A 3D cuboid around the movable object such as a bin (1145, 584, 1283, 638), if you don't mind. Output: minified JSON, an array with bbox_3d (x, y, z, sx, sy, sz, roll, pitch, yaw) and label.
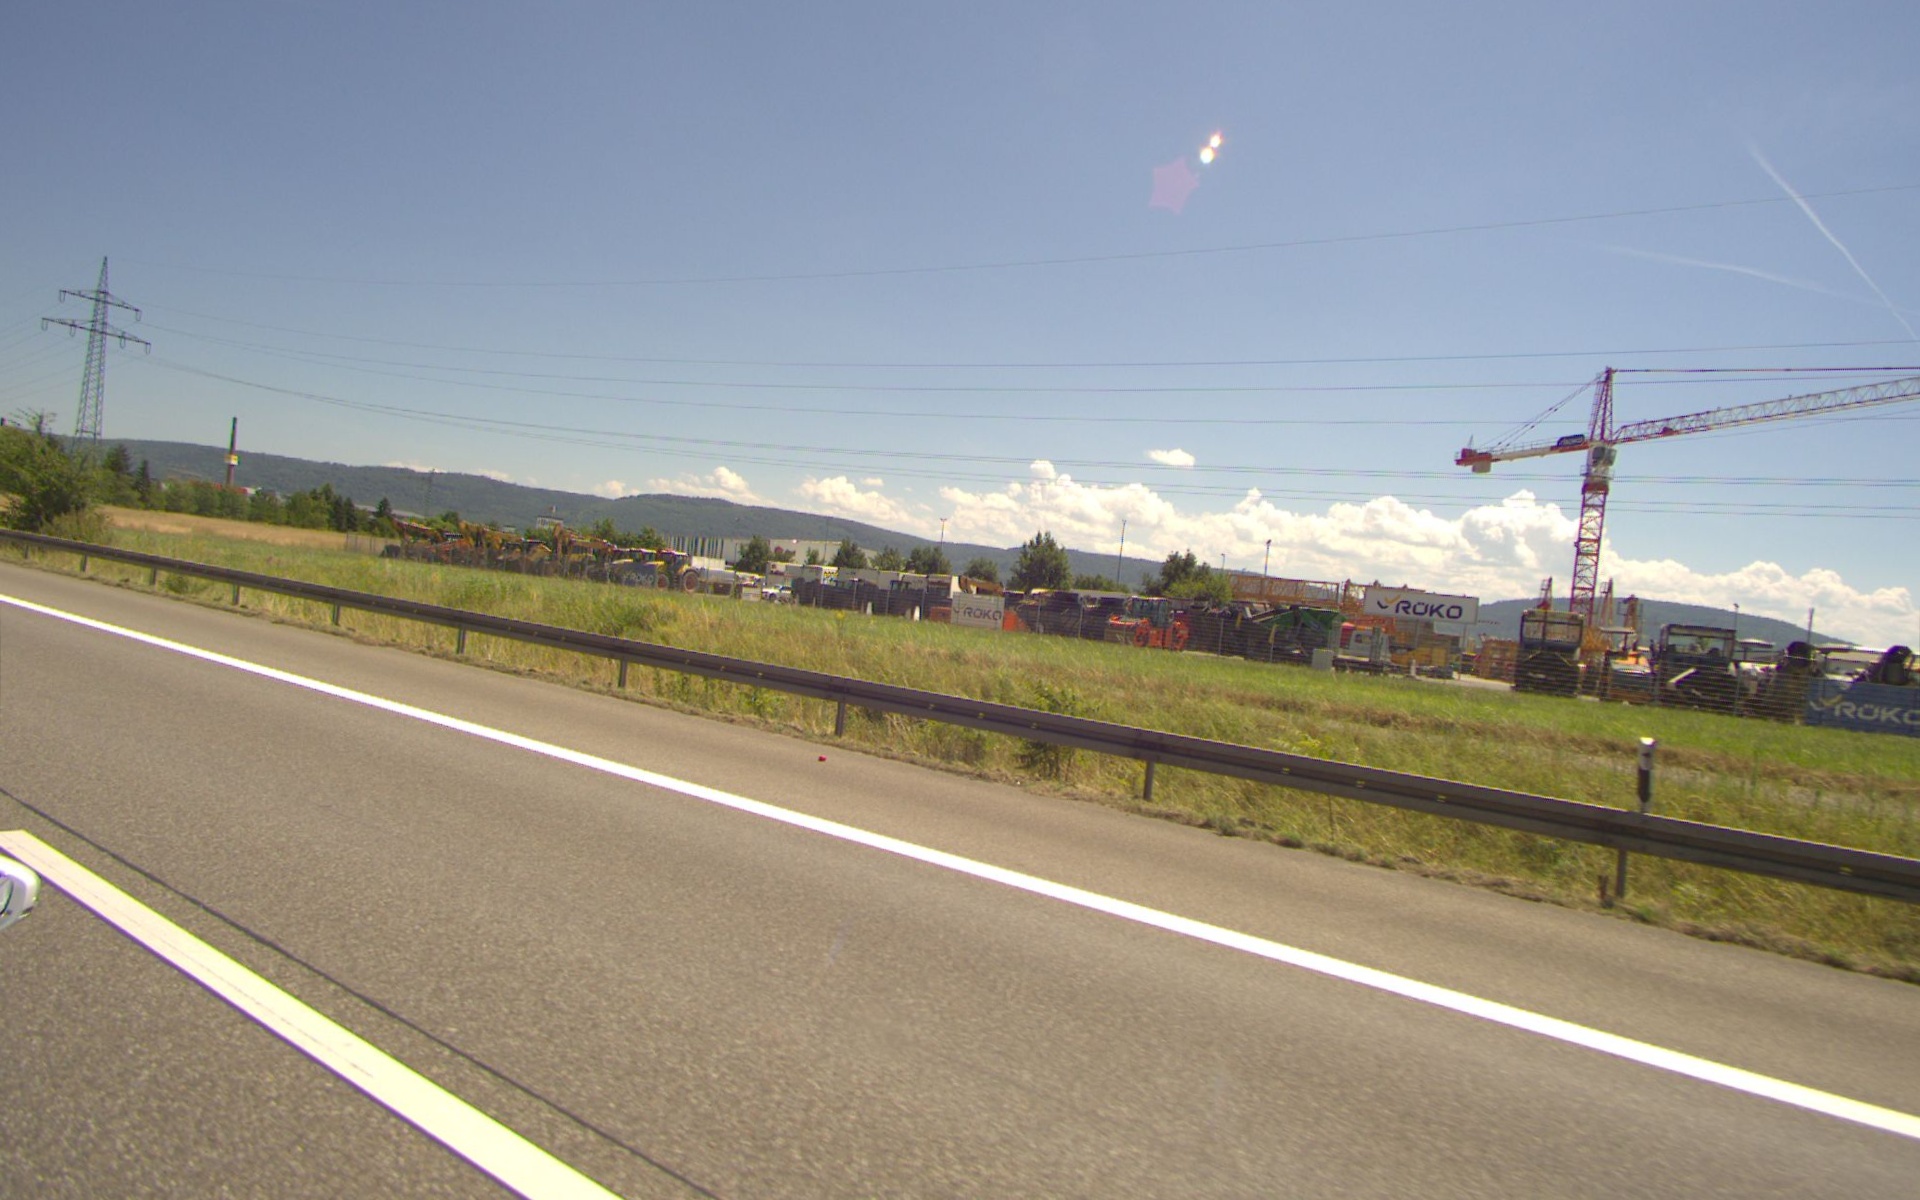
[{"bbox_3d":[18.941,0.870,74.543,11.108,2.984,2.981,6,1,-33],"label":"movable object such as a bin"}]

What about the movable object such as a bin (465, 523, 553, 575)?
[{"bbox_3d":[-39.168,-4.404,87.462,2.457,3.780,6.342,7,1,37],"label":"movable object such as a bin"}]

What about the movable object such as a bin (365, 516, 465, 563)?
[{"bbox_3d":[-51.339,-5.674,94.942,3.004,3.446,7.540,7,1,37],"label":"movable object such as a bin"}]

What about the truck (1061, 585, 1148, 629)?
[{"bbox_3d":[13.022,0.607,91.379,2.896,3.189,7.822,5,1,-37],"label":"truck"}]

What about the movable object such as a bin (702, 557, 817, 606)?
[{"bbox_3d":[-14.625,-1.313,73.862,3.136,2.723,7.807,7,1,44],"label":"movable object such as a bin"}]

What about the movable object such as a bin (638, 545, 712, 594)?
[{"bbox_3d":[-21.981,-2.357,77.715,2.263,3.238,4.808,7,1,38],"label":"movable object such as a bin"}]

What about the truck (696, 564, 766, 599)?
[{"bbox_3d":[-23.551,-1.867,103.658,3.294,2.857,6.344,7,0,34],"label":"truck"}]

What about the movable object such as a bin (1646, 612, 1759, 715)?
[{"bbox_3d":[32.132,2.719,43.947,2.620,3.736,10.261,7,1,31],"label":"movable object such as a bin"}]

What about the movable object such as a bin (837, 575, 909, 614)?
[{"bbox_3d":[-7.871,-0.491,91.809,6.325,2.916,2.245,6,1,-44],"label":"movable object such as a bin"}]

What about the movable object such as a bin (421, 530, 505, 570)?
[{"bbox_3d":[-44.965,-4.467,91.198,2.239,2.917,6.342,7,1,37],"label":"movable object such as a bin"}]

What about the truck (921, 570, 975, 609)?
[{"bbox_3d":[-1.131,-0.994,97.194,2.868,3.189,6.361,6,0,20],"label":"truck"}]

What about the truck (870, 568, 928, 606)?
[{"bbox_3d":[-6.241,-1.324,103.947,3.191,3.297,6.358,6,0,24],"label":"truck"}]

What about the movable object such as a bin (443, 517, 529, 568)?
[{"bbox_3d":[-41.998,-5.021,89.304,2.239,3.780,6.342,7,1,37],"label":"movable object such as a bin"}]

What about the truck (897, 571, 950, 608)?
[{"bbox_3d":[-3.564,-1.000,100.523,2.868,3.189,6.361,6,0,20],"label":"truck"}]

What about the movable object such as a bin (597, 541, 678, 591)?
[{"bbox_3d":[-25.465,-2.650,79.573,2.747,3.335,5.250,7,1,38],"label":"movable object such as a bin"}]

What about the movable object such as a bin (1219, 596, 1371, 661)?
[{"bbox_3d":[24.506,2.113,73.353,11.581,3.657,2.952,6,1,-27],"label":"movable object such as a bin"}]

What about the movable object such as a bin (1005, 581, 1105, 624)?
[{"bbox_3d":[7.890,0.247,82.976,8.358,2.723,2.580,6,1,-36],"label":"movable object such as a bin"}]

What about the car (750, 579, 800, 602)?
[{"bbox_3d":[-17.370,-0.878,94.582,1.672,1.569,4.234,7,-2,43],"label":"car"}]

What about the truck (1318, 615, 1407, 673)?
[{"bbox_3d":[20.424,2.269,50.938,2.616,2.495,5.540,7,1,37],"label":"truck"}]

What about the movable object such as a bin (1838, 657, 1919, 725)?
[{"bbox_3d":[50.430,4.895,54.770,2.877,3.189,7.976,7,1,36],"label":"movable object such as a bin"}]

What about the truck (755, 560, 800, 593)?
[{"bbox_3d":[-22.583,-2.854,124.909,2.858,3.461,5.719,6,0,17],"label":"truck"}]

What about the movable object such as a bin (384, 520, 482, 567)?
[{"bbox_3d":[-48.212,-5.108,92.240,2.239,3.446,7.540,7,1,37],"label":"movable object such as a bin"}]

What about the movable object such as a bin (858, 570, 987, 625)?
[{"bbox_3d":[-2.382,-0.135,65.344,7.780,2.723,3.147,6,1,-36],"label":"movable object such as a bin"}]

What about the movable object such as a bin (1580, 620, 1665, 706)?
[{"bbox_3d":[30.266,2.837,46.243,2.490,3.351,9.111,7,1,31],"label":"movable object such as a bin"}]

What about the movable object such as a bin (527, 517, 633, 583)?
[{"bbox_3d":[-31.650,-4.130,84.024,3.056,4.586,7.509,7,1,38],"label":"movable object such as a bin"}]

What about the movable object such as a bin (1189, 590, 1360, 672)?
[{"bbox_3d":[16.769,1.739,53.201,10.182,3.459,2.499,6,1,-34],"label":"movable object such as a bin"}]

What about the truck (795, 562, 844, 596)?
[{"bbox_3d":[-16.304,-2.393,117.057,3.150,3.461,5.719,6,0,17],"label":"truck"}]

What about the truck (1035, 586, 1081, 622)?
[{"bbox_3d":[10.024,0.424,102.520,2.868,3.189,6.361,6,0,20],"label":"truck"}]

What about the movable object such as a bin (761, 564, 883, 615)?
[{"bbox_3d":[-9.615,-0.709,70.697,7.780,2.723,3.147,6,1,-36],"label":"movable object such as a bin"}]

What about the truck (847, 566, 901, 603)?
[{"bbox_3d":[-9.118,-1.600,107.663,3.284,3.297,6.362,6,0,18],"label":"truck"}]

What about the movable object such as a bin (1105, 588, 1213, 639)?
[{"bbox_3d":[15.168,1.061,76.399,8.358,2.984,2.880,6,1,-36],"label":"movable object such as a bin"}]

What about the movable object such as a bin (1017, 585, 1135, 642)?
[{"bbox_3d":[6.971,0.843,59.665,6.856,2.723,3.138,5,1,-44],"label":"movable object such as a bin"}]

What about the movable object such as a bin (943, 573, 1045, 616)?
[{"bbox_3d":[2.910,-0.448,83.610,8.358,2.723,2.713,6,1,-36],"label":"movable object such as a bin"}]

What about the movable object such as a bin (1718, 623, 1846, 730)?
[{"bbox_3d":[34.379,3.113,42.467,2.353,3.736,10.261,7,1,31],"label":"movable object such as a bin"}]

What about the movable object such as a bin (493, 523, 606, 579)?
[{"bbox_3d":[-34.959,-4.142,86.024,3.287,3.780,8.176,7,1,38],"label":"movable object such as a bin"}]

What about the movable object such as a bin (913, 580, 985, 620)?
[{"bbox_3d":[-0.935,0.033,88.893,6.325,2.916,2.245,6,1,-44],"label":"movable object such as a bin"}]

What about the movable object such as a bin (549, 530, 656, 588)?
[{"bbox_3d":[-28.969,-3.277,81.753,3.056,3.831,7.509,7,1,38],"label":"movable object such as a bin"}]

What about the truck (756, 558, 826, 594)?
[{"bbox_3d":[-16.921,-2.380,101.051,3.294,2.857,6.344,7,0,34],"label":"truck"}]

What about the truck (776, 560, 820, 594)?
[{"bbox_3d":[-19.350,-2.697,120.548,2.720,3.461,5.719,6,0,17],"label":"truck"}]

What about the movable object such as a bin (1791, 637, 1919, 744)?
[{"bbox_3d":[37.454,3.615,41.856,2.634,3.737,9.724,7,1,31],"label":"movable object such as a bin"}]

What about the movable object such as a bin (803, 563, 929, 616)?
[{"bbox_3d":[-6.320,-0.671,68.013,7.780,2.723,3.147,6,1,-36],"label":"movable object such as a bin"}]

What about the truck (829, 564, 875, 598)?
[{"bbox_3d":[-11.850,-2.088,110.724,2.798,3.248,5.334,6,0,17],"label":"truck"}]

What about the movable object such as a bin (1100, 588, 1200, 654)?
[{"bbox_3d":[10.956,1.249,57.671,5.809,3.238,2.490,5,1,-44],"label":"movable object such as a bin"}]

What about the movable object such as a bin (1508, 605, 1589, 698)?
[{"bbox_3d":[27.885,2.425,47.624,2.620,3.736,10.261,7,1,31],"label":"movable object such as a bin"}]

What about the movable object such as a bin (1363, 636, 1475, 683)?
[{"bbox_3d":[32.314,4.152,70.990,2.896,2.495,6.411,6,1,-37],"label":"movable object such as a bin"}]

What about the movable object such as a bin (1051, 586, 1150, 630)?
[{"bbox_3d":[11.501,0.692,81.916,8.358,2.723,2.580,6,1,-36],"label":"movable object such as a bin"}]

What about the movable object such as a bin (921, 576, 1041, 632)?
[{"bbox_3d":[1.363,0.291,62.755,6.839,2.723,3.146,6,1,-36],"label":"movable object such as a bin"}]

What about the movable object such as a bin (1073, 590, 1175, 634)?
[{"bbox_3d":[12.973,0.977,79.043,8.358,2.723,2.580,6,1,-36],"label":"movable object such as a bin"}]
